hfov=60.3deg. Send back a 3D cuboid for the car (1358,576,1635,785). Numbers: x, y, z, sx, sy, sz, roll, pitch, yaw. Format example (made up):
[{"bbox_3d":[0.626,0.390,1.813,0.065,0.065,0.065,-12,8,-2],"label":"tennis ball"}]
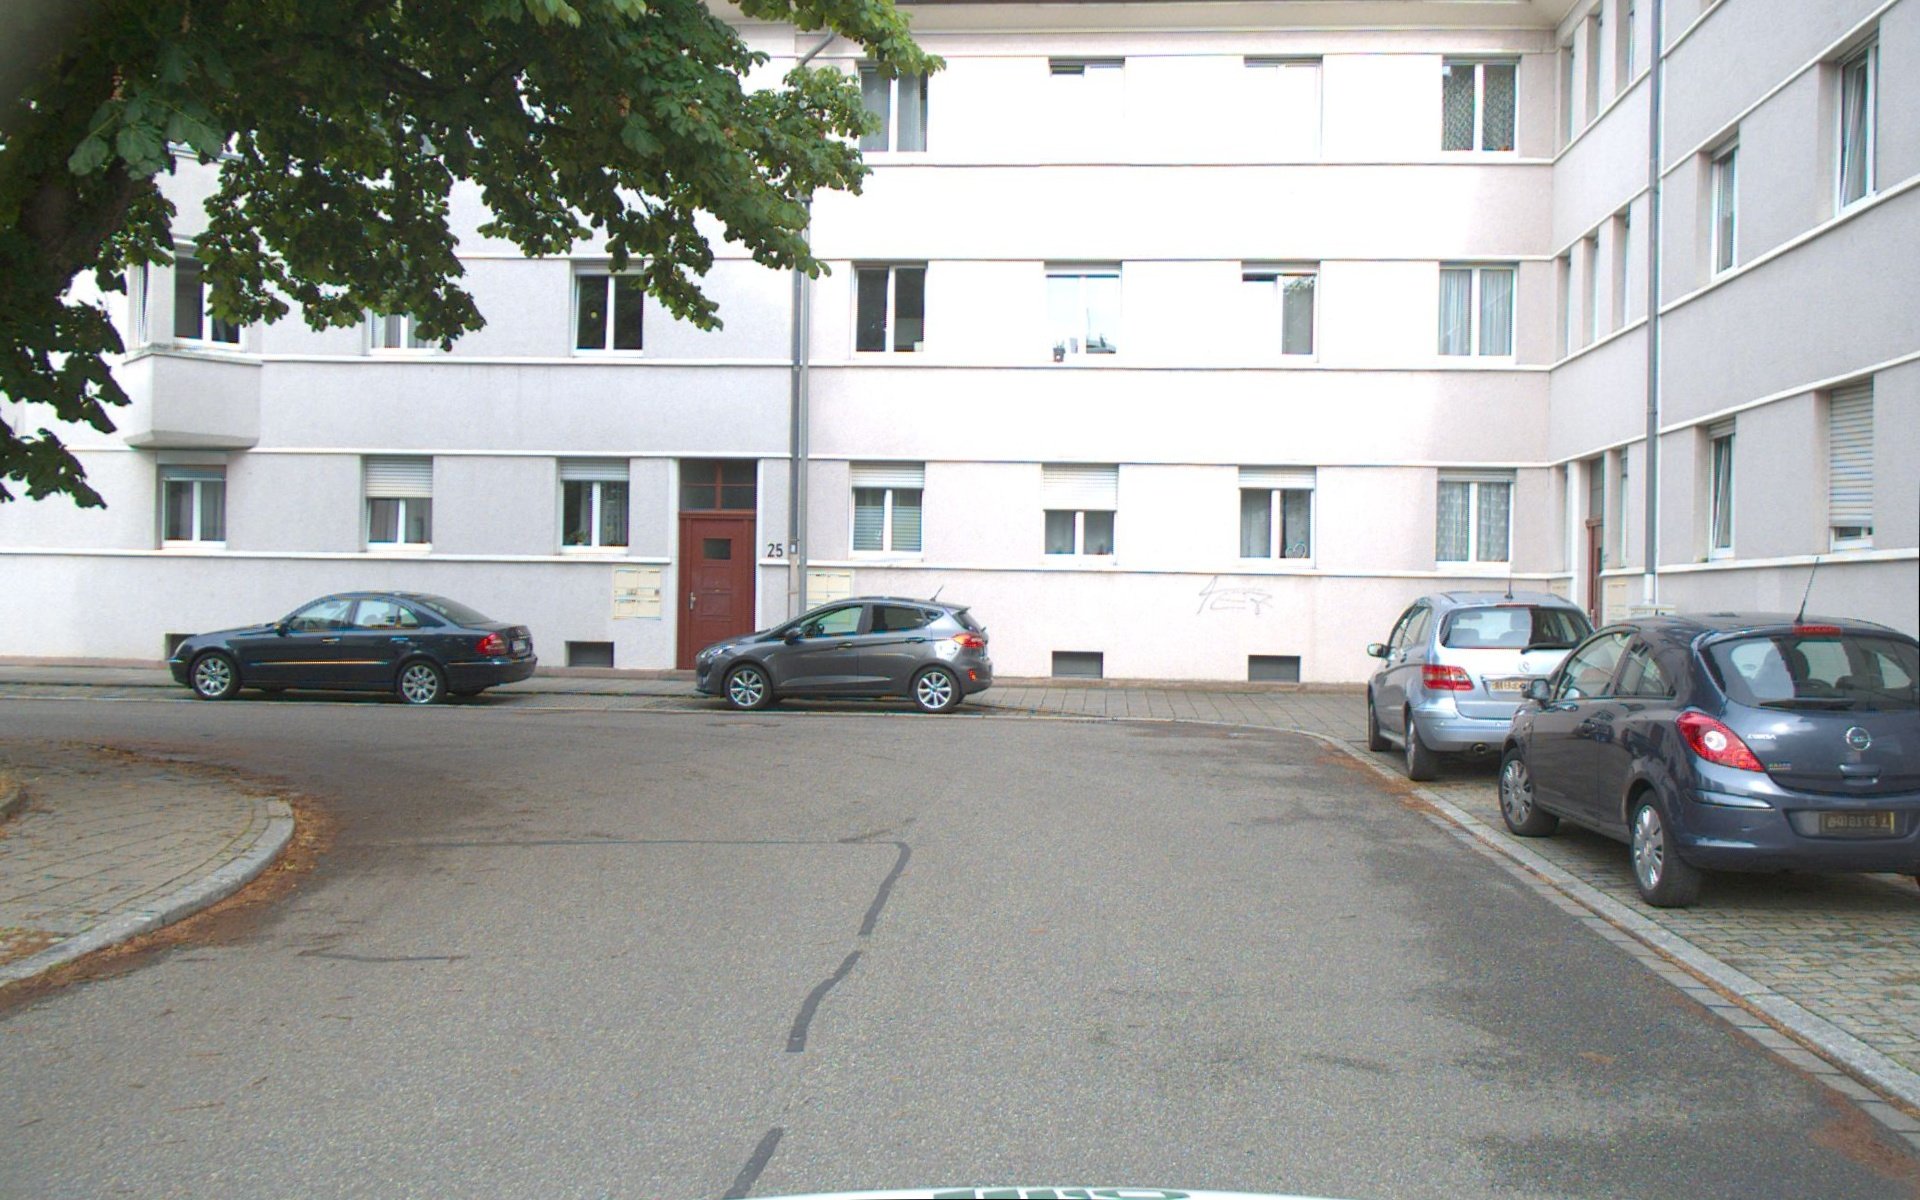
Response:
[{"bbox_3d":[4.851,0.668,15.507,1.719,1.656,4.203,1,0,8],"label":"car"}]

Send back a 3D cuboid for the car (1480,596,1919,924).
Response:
[{"bbox_3d":[4.393,0.773,9.740,1.720,1.516,3.939,1,0,5],"label":"car"}]

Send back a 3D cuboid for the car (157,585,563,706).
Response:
[{"bbox_3d":[-8.021,0.575,22.347,4.830,1.445,1.752,1,1,3],"label":"car"}]

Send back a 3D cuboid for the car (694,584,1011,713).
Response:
[{"bbox_3d":[-1.360,0.611,22.013,3.980,1.551,1.763,1,1,3],"label":"car"}]
